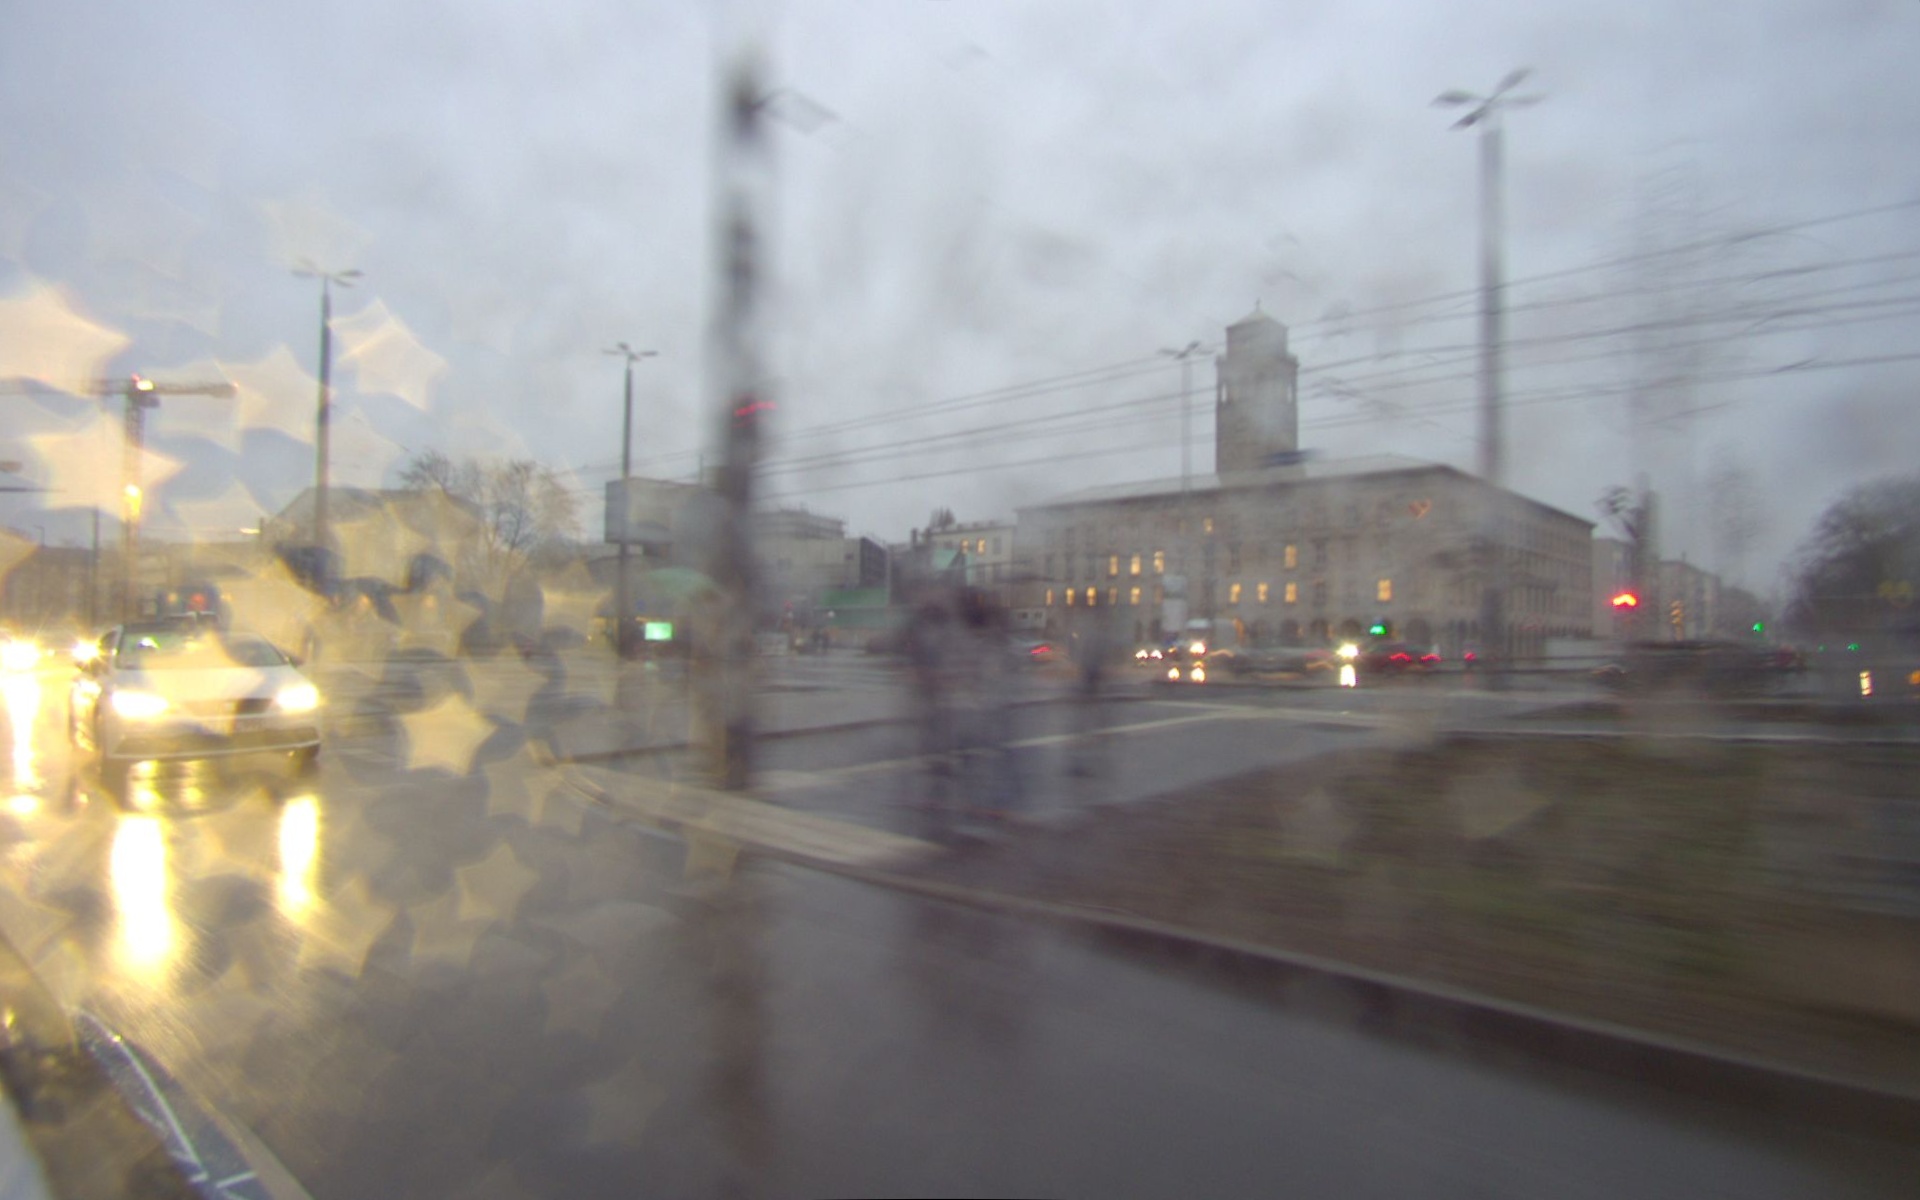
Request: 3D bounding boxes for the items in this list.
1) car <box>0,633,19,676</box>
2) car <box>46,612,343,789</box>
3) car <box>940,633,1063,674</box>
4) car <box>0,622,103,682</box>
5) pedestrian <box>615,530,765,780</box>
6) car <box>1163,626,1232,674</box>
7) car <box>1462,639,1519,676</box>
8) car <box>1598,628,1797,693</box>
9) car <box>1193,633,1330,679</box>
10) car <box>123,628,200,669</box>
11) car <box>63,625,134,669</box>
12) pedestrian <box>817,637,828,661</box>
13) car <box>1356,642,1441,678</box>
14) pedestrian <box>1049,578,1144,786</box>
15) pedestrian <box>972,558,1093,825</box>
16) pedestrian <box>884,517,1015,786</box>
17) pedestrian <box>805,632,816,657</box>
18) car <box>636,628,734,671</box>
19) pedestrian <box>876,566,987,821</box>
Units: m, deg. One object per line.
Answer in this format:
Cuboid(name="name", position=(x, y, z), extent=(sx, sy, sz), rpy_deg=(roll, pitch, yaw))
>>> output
Cuboid(name="car", position=(-39.951, 2.203, 41.241), extent=(3.983, 1.674, 1.844), rpy_deg=(-1, -2, 40))
Cuboid(name="car", position=(-8.128, 0.908, 10.604), extent=(4.139, 1.484, 1.790), rpy_deg=(-2, -2, 43))
Cuboid(name="car", position=(1.610, 2.043, 39.503), extent=(4.419, 1.492, 1.981), rpy_deg=(-1, -1, 28))
Cuboid(name="car", position=(-27.530, 1.508, 30.535), extent=(3.998, 1.696, 1.973), rpy_deg=(-1, -2, 41))
Cuboid(name="pedestrian", position=(-2.496, 0.490, 9.396), extent=(1.013, 2.162, 0.897), rpy_deg=(-1, -2, 28))
Cuboid(name="car", position=(14.027, 2.891, 59.643), extent=(2.000, 2.732, 4.376), rpy_deg=(-1, -2, 43))
Cuboid(name="car", position=(29.500, 3.151, 56.215), extent=(1.757, 1.893, 4.137), rpy_deg=(-1, -2, 43))
Cuboid(name="car", position=(19.875, 1.578, 27.478), extent=(4.224, 1.628, 1.856), rpy_deg=(-1, -2, 36))
Cuboid(name="car", position=(10.439, 1.904, 35.094), extent=(4.252, 1.470, 1.979), rpy_deg=(-1, -1, 31))
Cuboid(name="car", position=(-32.538, 1.957, 41.216), extent=(3.926, 1.541, 1.776), rpy_deg=(-2, -2, 41))
Cuboid(name="car", position=(-39.515, 2.114, 46.388), extent=(3.998, 1.896, 1.927), rpy_deg=(-2, -2, 41))
Cuboid(name="pedestrian", position=(-9.452, 3.362, 69.503), extent=(0.645, 1.674, 0.743), rpy_deg=(1, -2, -14))
Cuboid(name="car", position=(17.109, 2.307, 39.649), extent=(1.426, 1.284, 3.168), rpy_deg=(0, -2, -13))
Cuboid(name="pedestrian", position=(1.220, 0.689, 8.929), extent=(0.757, 1.727, 0.857), rpy_deg=(0, -1, 13))
Cuboid(name="pedestrian", position=(0.515, 0.603, 6.999), extent=(0.743, 1.731, 0.651), rpy_deg=(0, -1, 13))
Cuboid(name="pedestrian", position=(-0.069, 0.437, 9.002), extent=(0.948, 2.224, 1.048), rpy_deg=(0, -1, 13))
Cuboid(name="pedestrian", position=(-10.244, 3.066, 69.441), extent=(0.645, 1.678, 0.743), rpy_deg=(1, -2, -14))
Cuboid(name="car", position=(-13.586, 2.405, 49.936), extent=(4.775, 2.029, 1.979), rpy_deg=(-1, -1, 32))
Cuboid(name="pedestrian", position=(-0.216, 0.644, 7.312), extent=(0.656, 1.748, 0.607), rpy_deg=(1, -1, -14))
